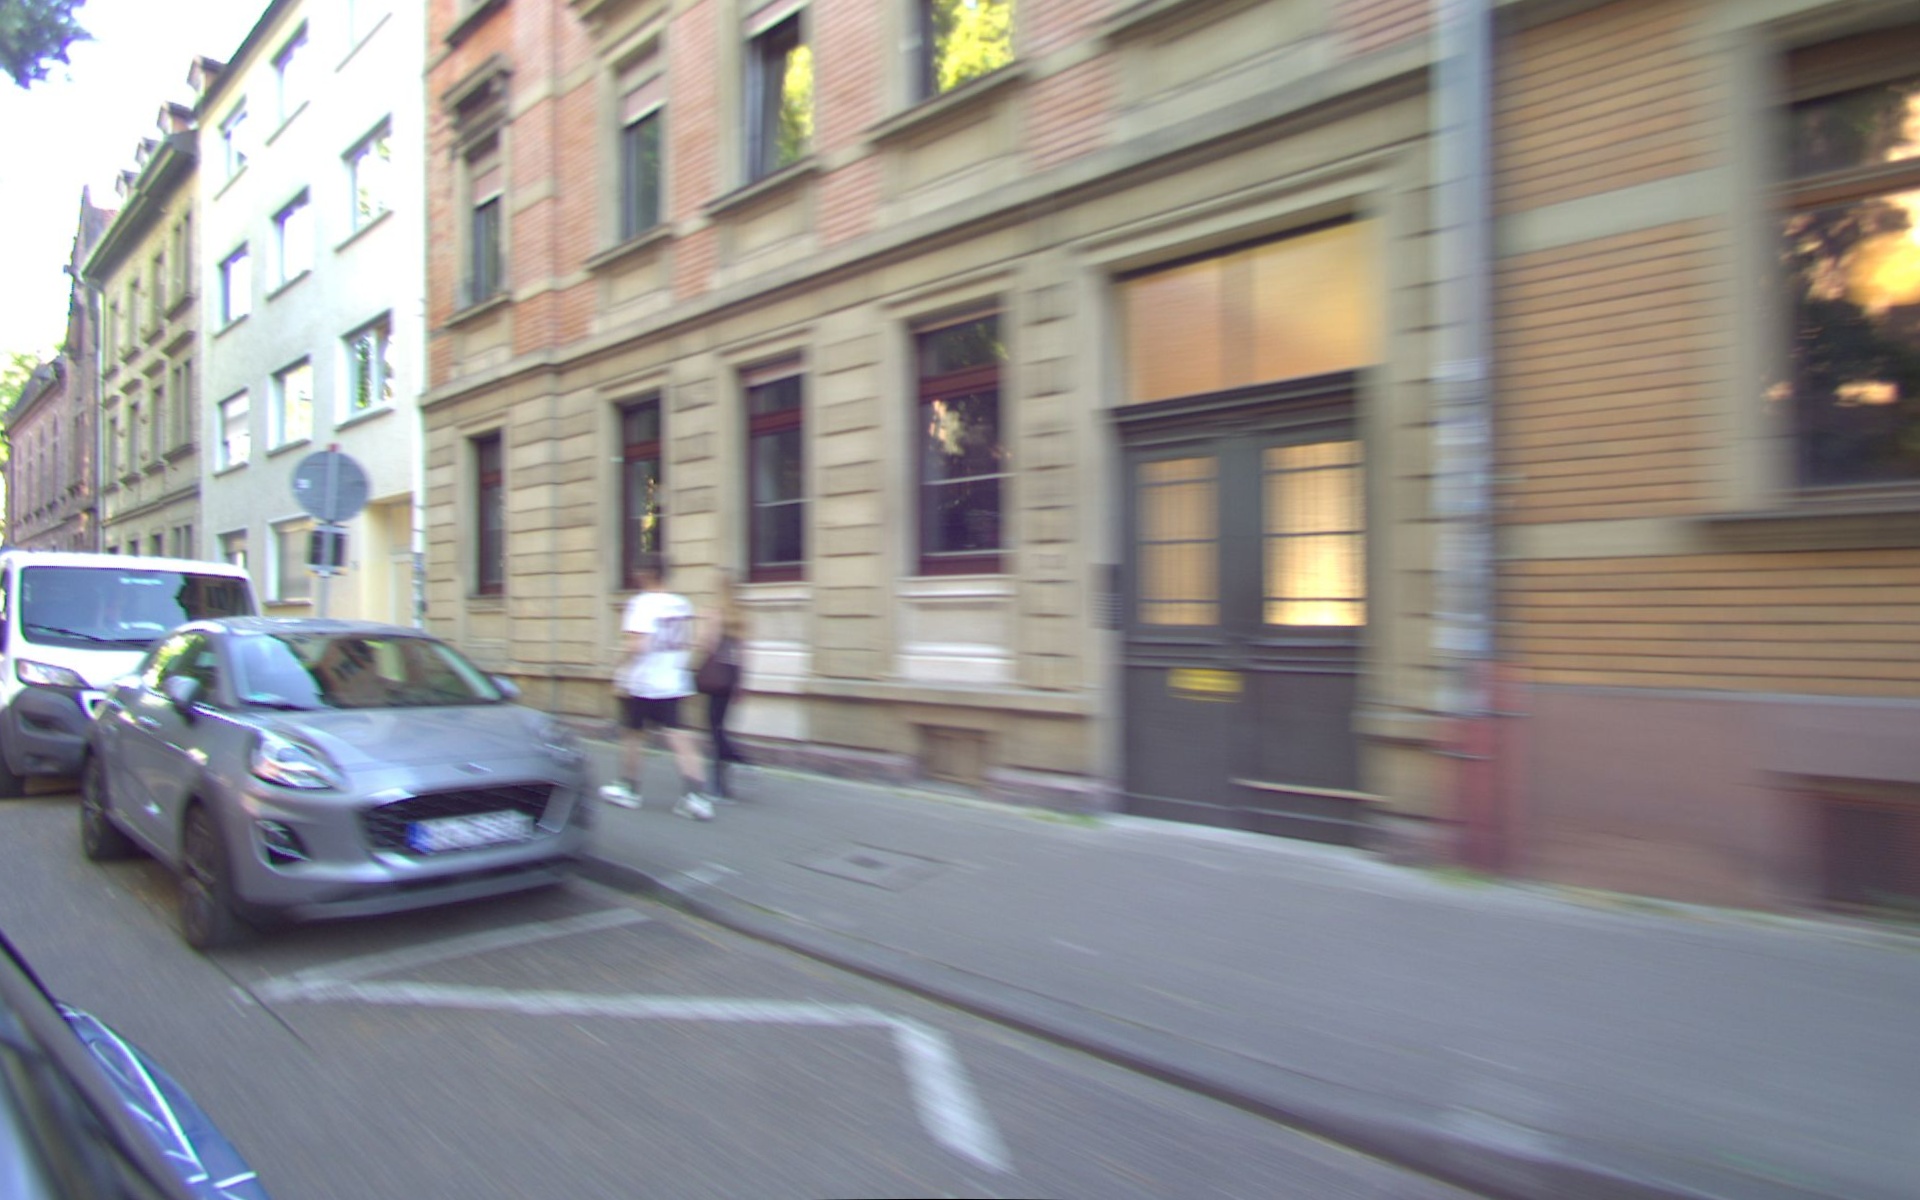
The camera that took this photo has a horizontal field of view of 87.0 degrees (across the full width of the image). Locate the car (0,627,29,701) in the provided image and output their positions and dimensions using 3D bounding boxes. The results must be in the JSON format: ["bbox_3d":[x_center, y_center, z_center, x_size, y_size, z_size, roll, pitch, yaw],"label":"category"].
[{"bbox_3d":[-21.091,1.298,21.281,4.519,1.467,1.712,-2,-4,41],"label":"car"}]

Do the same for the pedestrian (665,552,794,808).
[{"bbox_3d":[-1.709,0.556,7.529,0.649,1.785,0.693,0,0,41],"label":"pedestrian"}]

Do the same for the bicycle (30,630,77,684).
[{"bbox_3d":[-22.211,1.373,24.790,1.843,1.253,0.564,-2,1,41],"label":"bicycle"}]

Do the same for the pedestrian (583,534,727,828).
[{"bbox_3d":[-2.131,0.522,7.054,0.904,1.897,0.573,0,0,41],"label":"pedestrian"}]

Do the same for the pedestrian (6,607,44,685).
[{"bbox_3d":[-22.475,1.103,24.311,1.114,1.816,0.483,-2,0,40],"label":"pedestrian"}]

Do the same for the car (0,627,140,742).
[{"bbox_3d":[-13.128,1.116,14.328,4.315,1.413,1.712,-2,-4,43],"label":"car"}]

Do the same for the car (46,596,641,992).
[{"bbox_3d":[-3.831,0.828,5.970,4.190,1.526,1.748,-2,-4,41],"label":"car"}]

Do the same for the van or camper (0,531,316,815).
[{"bbox_3d":[-8.550,0.657,10.220,5.153,2.164,2.153,-2,-4,43],"label":"van or camper"}]
